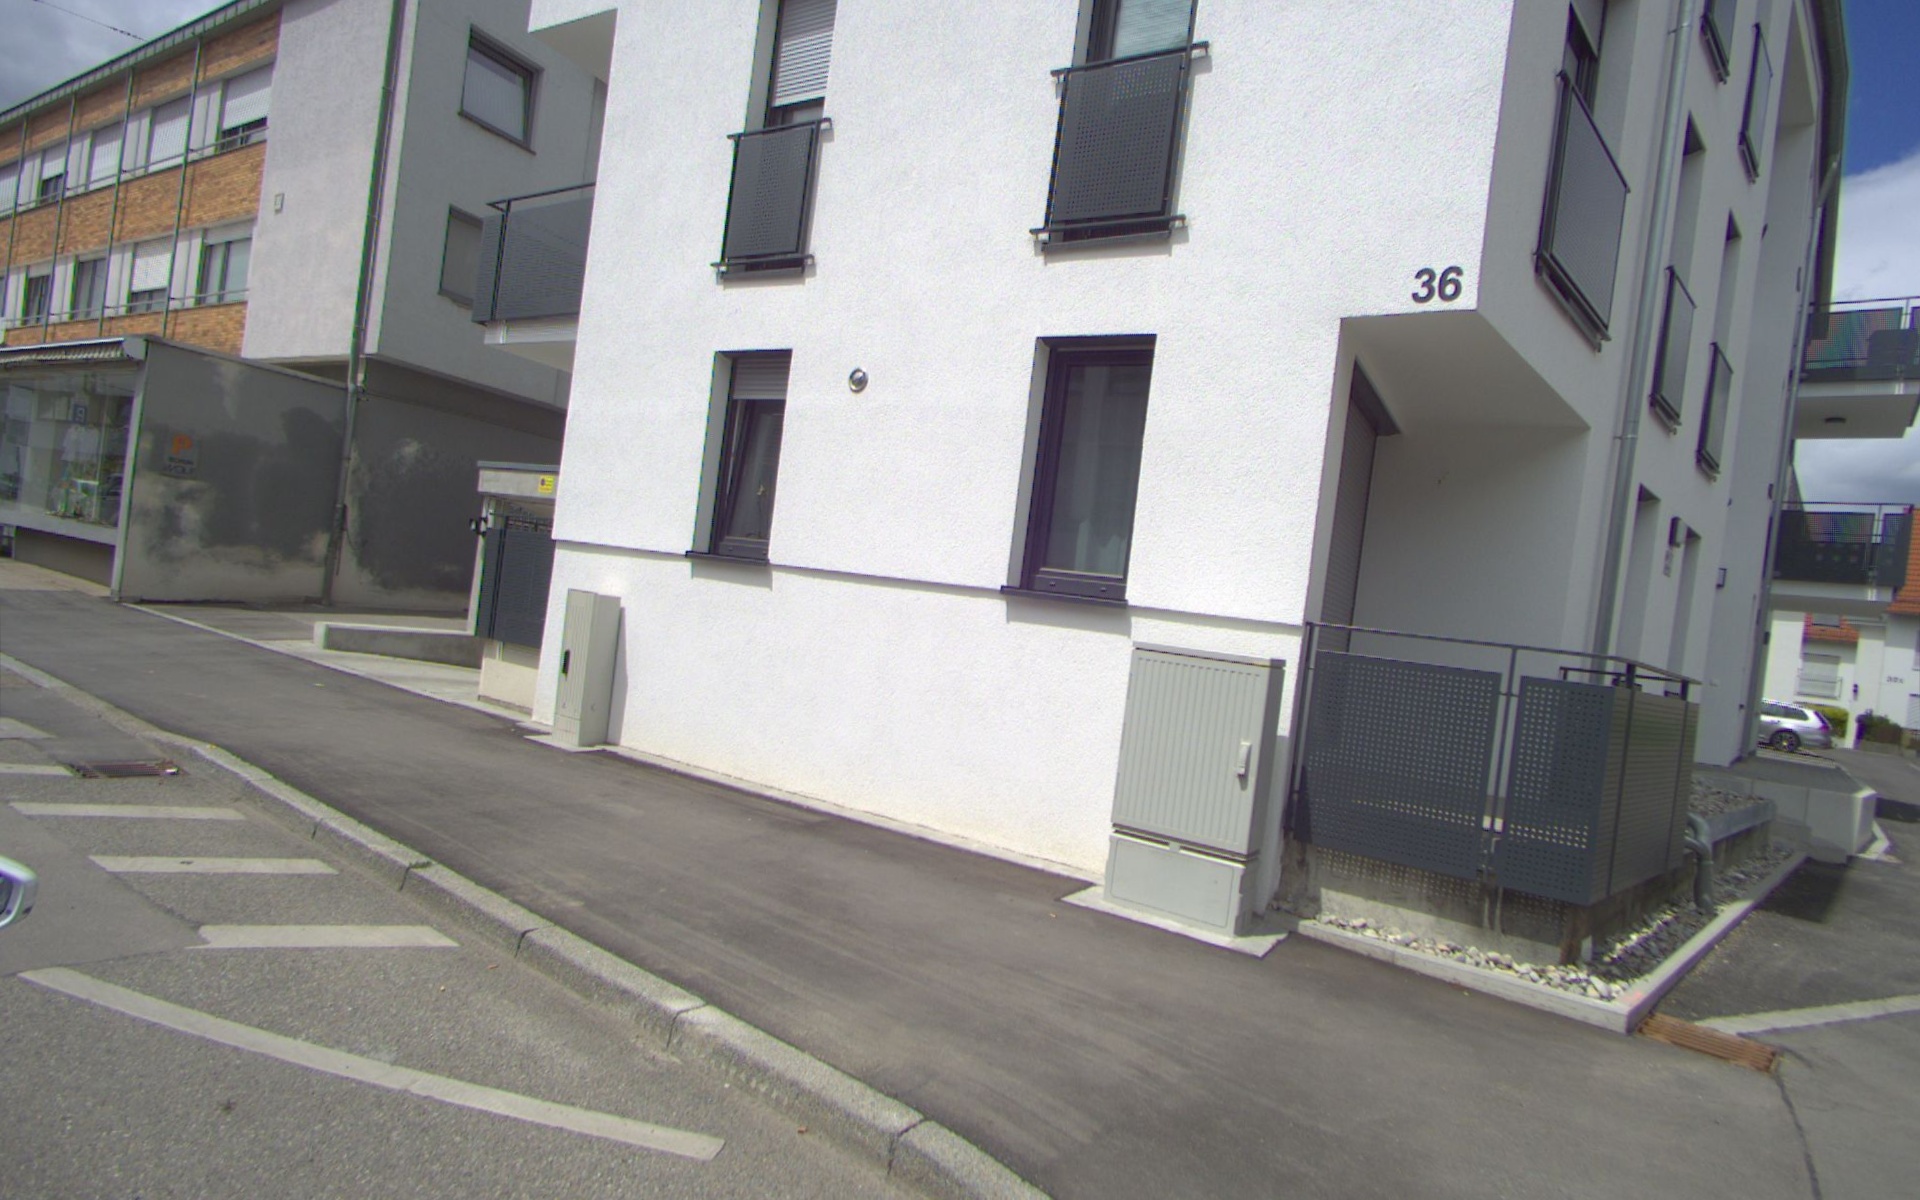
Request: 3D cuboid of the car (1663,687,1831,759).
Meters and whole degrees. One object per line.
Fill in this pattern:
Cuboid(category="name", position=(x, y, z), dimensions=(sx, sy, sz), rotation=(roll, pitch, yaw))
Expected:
Cuboid(category="car", position=(24.360, 3.776, 31.235), dimensions=(3.880, 1.523, 1.690), rotation=(8, 0, 42))
